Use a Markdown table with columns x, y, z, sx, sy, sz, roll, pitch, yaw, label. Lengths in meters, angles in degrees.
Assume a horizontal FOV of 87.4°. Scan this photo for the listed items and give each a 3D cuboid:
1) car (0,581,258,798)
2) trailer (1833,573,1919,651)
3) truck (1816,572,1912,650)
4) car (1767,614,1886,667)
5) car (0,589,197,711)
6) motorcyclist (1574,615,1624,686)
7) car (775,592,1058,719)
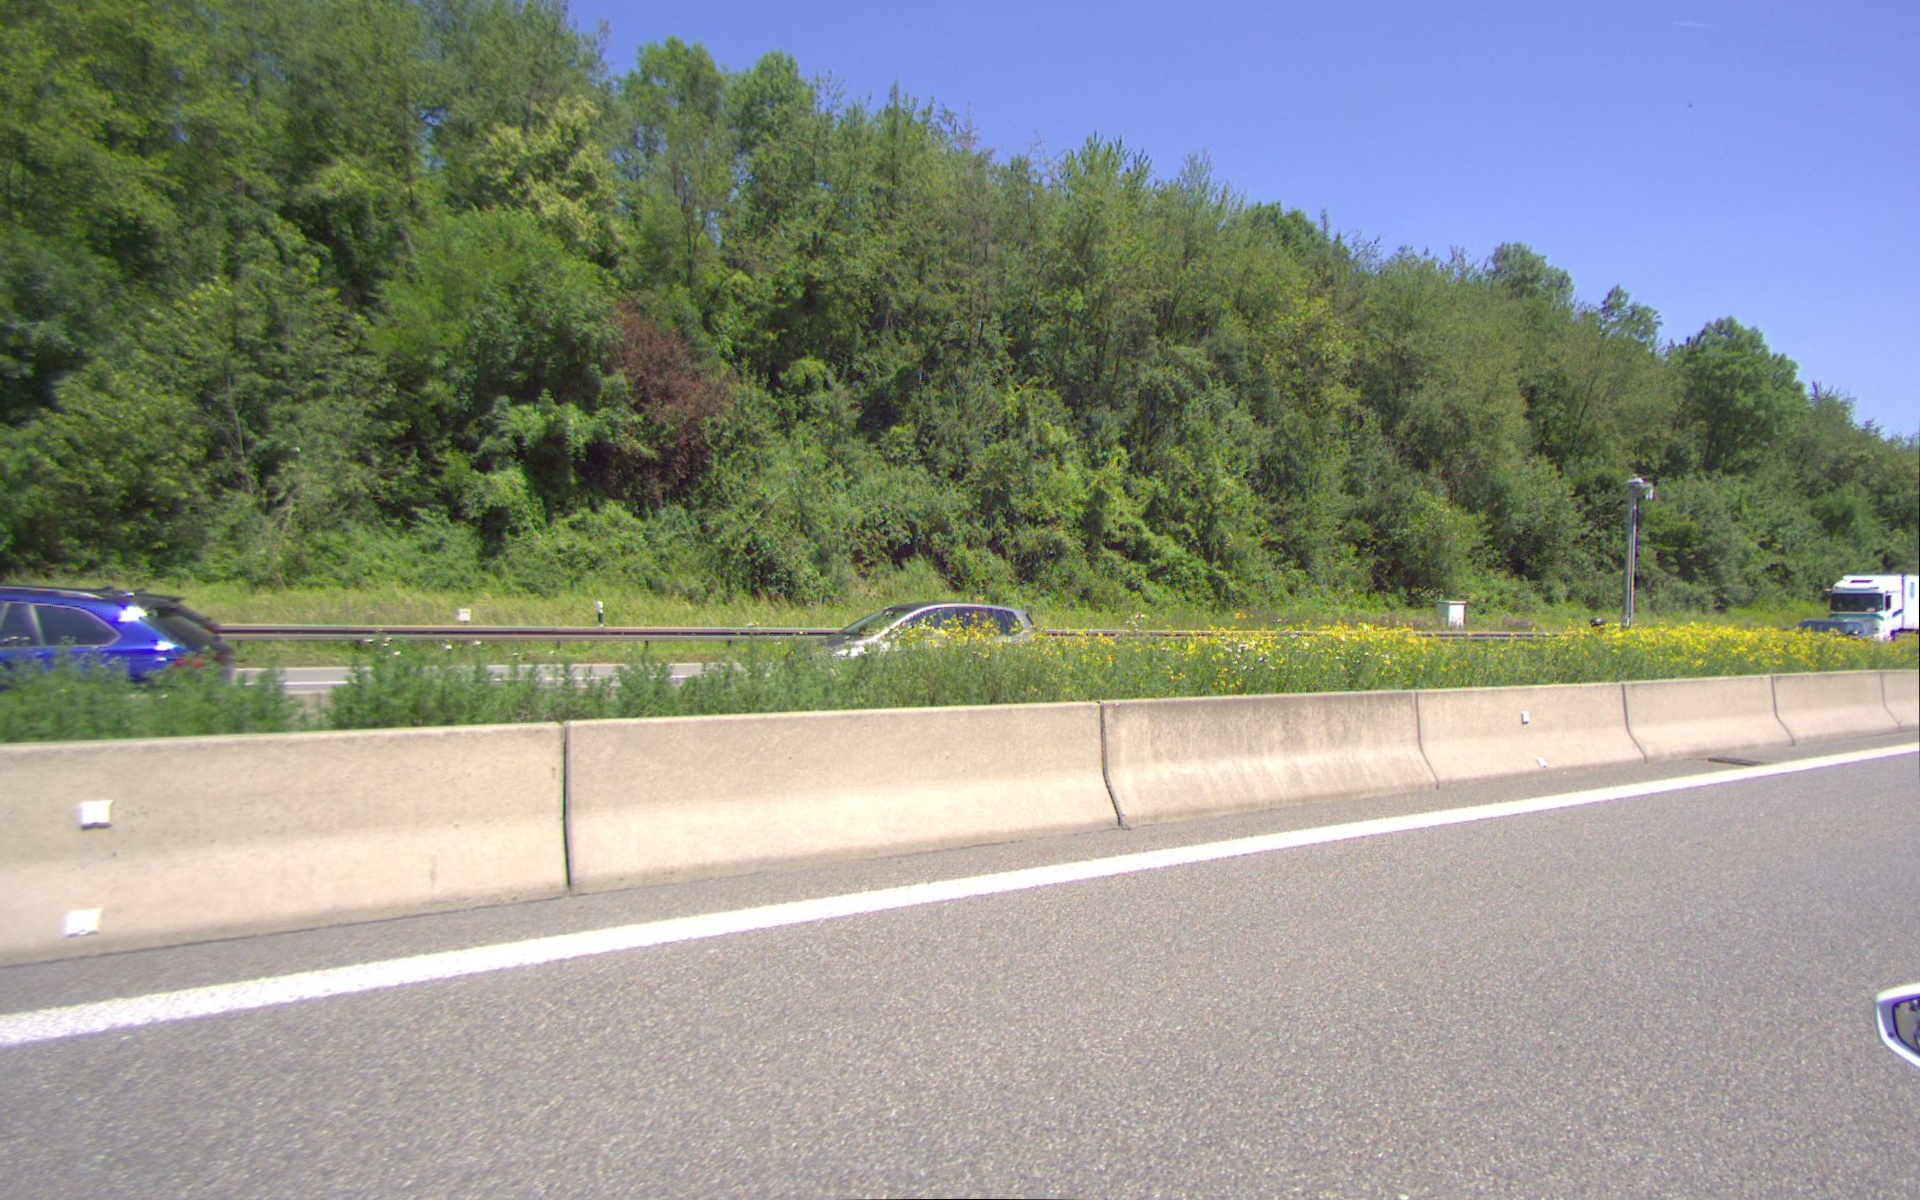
| x | y | z | sx | sy | sz | roll | pitch | yaw | label |
| --- | --- | --- | --- | --- | --- | --- | --- | --- | --- |
| -7.727 | 0.610 | 7.472 | 3.955 | 1.530 | 1.752 | 1 | 0 | -32 | car |
| 56.278 | 0.834 | 59.865 | 13.783 | 4.263 | 2.699 | 2 | 0 | -33 | trailer |
| 50.456 | 0.622 | 56.033 | 5.147 | 4.144 | 2.675 | 2 | 0 | -33 | truck |
| 29.457 | 1.348 | 34.145 | 3.934 | 1.663 | 1.939 | 1 | 0 | -31 | car |
| -12.690 | 0.623 | 13.245 | 3.955 | 1.528 | 1.983 | 1 | 0 | -32 | car |
| 12.569 | 0.981 | 19.752 | 0.570 | 1.352 | 0.620 | 1 | 0 | -29 | motorcyclist |
| -0.659 | 0.802 | 15.695 | 3.953 | 1.751 | 1.984 | 1 | 0 | -30 | car |
